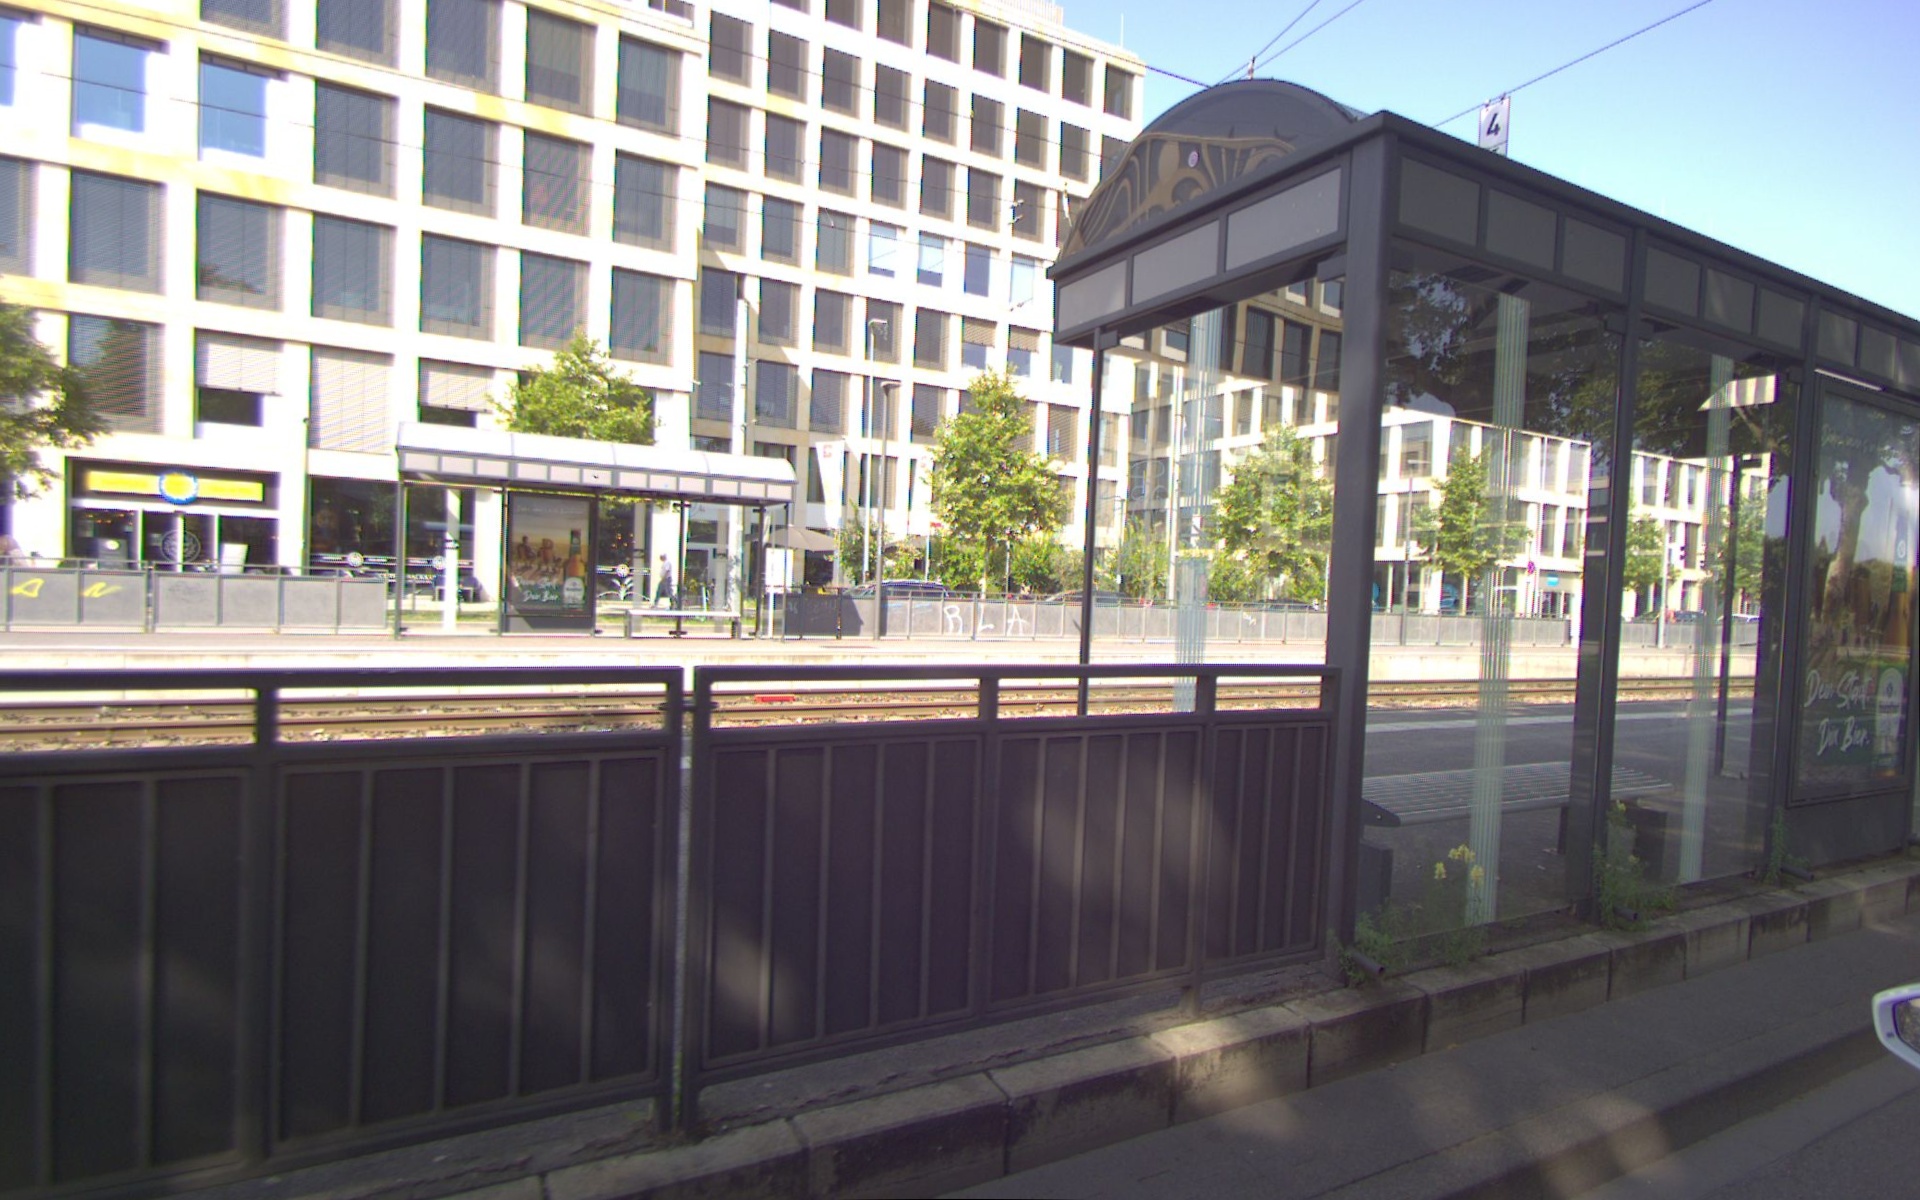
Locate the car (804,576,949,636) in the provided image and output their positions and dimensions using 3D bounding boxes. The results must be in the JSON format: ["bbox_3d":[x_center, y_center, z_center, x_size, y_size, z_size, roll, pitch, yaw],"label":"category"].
[{"bbox_3d":[-2.200,0.167,26.631,3.465,1.447,1.545,2,1,-31],"label":"car"}]

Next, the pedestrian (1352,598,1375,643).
[{"bbox_3d":[18.708,0.968,46.573,0.812,2.040,0.560,3,-2,-29],"label":"pedestrian"}]

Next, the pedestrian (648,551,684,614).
[{"bbox_3d":[-9.385,-0.536,32.080,0.830,1.942,0.788,3,-3,-34],"label":"pedestrian"}]
